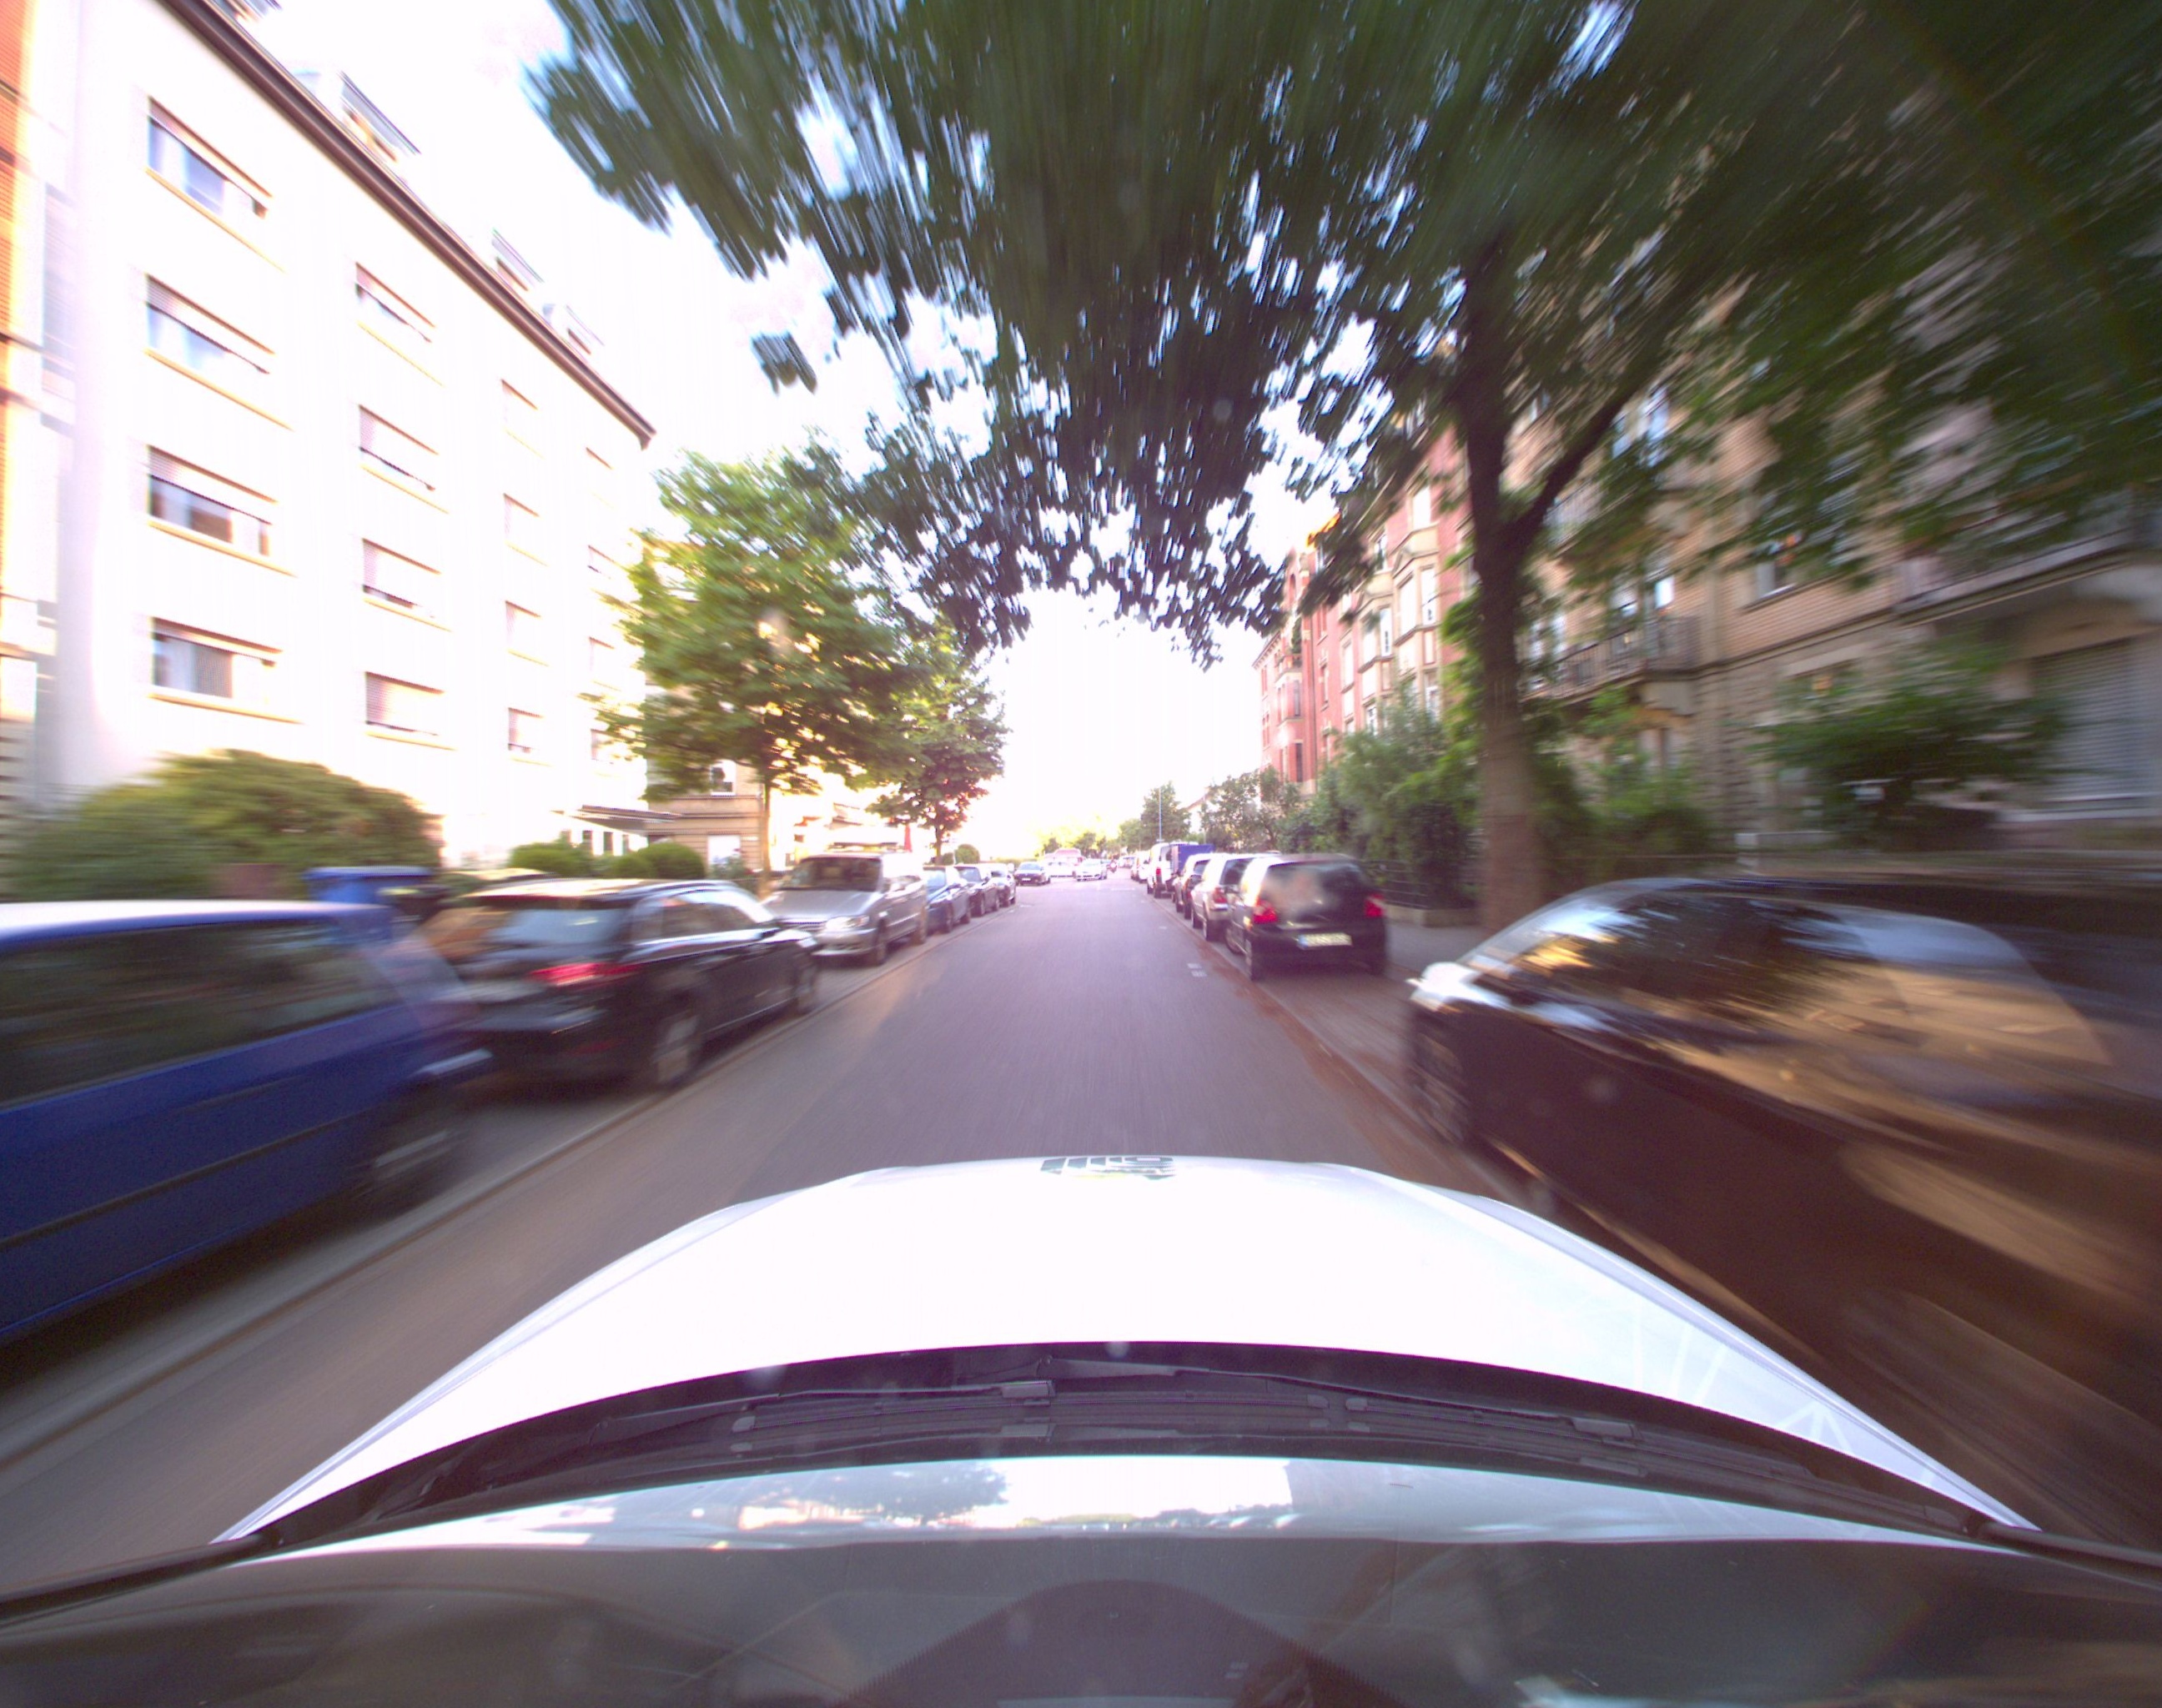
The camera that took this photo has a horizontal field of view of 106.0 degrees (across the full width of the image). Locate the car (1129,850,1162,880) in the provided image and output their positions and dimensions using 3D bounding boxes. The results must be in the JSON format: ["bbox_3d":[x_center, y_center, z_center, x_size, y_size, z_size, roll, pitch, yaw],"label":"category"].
[{"bbox_3d":[4.060,0.704,51.814,1.682,1.811,3.938,-1,-1,-1],"label":"car"}]

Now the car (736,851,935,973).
[{"bbox_3d":[-3.707,0.784,13.210,1.709,1.596,4.520,-1,0,2],"label":"car"}]

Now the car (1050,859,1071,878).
[{"bbox_3d":[-1.720,1.215,68.051,1.711,1.441,3.628,-1,0,-1],"label":"car"}]

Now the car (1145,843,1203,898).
[{"bbox_3d":[3.494,0.606,31.116,1.675,1.941,3.879,-1,-1,-1],"label":"car"}]

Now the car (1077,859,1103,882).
[{"bbox_3d":[0.680,1.171,58.835,1.806,1.596,3.484,-1,0,2],"label":"car"}]

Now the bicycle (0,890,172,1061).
[{"bbox_3d":[-8.015,0.906,6.148,0.432,1.185,1.619,-2,0,2],"label":"bicycle"}]

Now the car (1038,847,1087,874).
[{"bbox_3d":[-1.657,0.586,73.846,4.336,2.318,1.745,-1,0,0],"label":"car"}]

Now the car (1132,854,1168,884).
[{"bbox_3d":[3.935,0.845,46.820,1.682,1.606,3.938,-1,-1,-1],"label":"car"}]

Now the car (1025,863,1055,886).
[{"bbox_3d":[-2.836,1.401,56.610,1.709,1.441,3.633,-1,0,3],"label":"car"}]

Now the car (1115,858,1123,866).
[{"bbox_3d":[7.904,1.659,170.203,1.709,1.596,3.484,-1,0,2],"label":"car"}]

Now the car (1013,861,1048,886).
[{"bbox_3d":[-3.127,1.213,51.013,1.709,1.486,3.632,-1,-1,3],"label":"car"}]

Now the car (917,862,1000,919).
[{"bbox_3d":[-3.434,0.993,23.451,1.709,1.441,3.632,-1,0,2],"label":"car"}]

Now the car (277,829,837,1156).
[{"bbox_3d":[-3.569,0.771,6.661,1.709,1.790,4.217,-1,0,2],"label":"car"}]

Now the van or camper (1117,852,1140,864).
[{"bbox_3d":[11.419,1.021,195.779,5.263,2.791,1.547,-1,0,-10],"label":"van or camper"}]

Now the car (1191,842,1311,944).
[{"bbox_3d":[3.011,0.652,15.144,1.679,1.606,3.944,-1,-1,4],"label":"car"}]

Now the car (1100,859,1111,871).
[{"bbox_3d":[3.604,1.603,119.403,1.427,1.596,3.484,-1,0,2],"label":"car"}]

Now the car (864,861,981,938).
[{"bbox_3d":[-3.440,0.936,18.408,1.709,1.465,3.988,-1,0,2],"label":"car"}]

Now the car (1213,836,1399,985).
[{"bbox_3d":[2.785,0.640,10.907,1.679,1.606,3.945,-1,-1,5],"label":"car"}]

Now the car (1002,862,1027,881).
[{"bbox_3d":[-5.225,1.366,64.320,1.711,1.441,3.628,-2,0,-1],"label":"car"}]

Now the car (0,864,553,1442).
[{"bbox_3d":[-3.850,0.863,2.622,1.709,1.566,3.789,-1,0,2],"label":"car"}]

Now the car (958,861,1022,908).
[{"bbox_3d":[-3.118,1.021,28.442,1.592,1.441,3.840,-1,0,3],"label":"car"}]

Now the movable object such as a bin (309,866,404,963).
[{"bbox_3d":[-10.683,0.865,12.027,0.730,1.362,0.707,1,0,8],"label":"movable object such as a bin"}]

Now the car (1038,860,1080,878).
[{"bbox_3d":[-1.900,1.322,71.013,3.609,1.461,1.605,-1,0,-2],"label":"car"}]

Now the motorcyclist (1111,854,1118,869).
[{"bbox_3d":[3.686,0.851,90.695,0.699,1.630,0.822,-2,-1,1],"label":"motorcyclist"}]

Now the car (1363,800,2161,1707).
[{"bbox_3d":[2.567,0.609,2.901,1.681,1.441,4.211,-4,-1,1],"label":"car"}]

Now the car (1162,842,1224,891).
[{"bbox_3d":[3.708,0.416,27.395,1.534,1.521,3.430,-1,-1,-1],"label":"car"}]

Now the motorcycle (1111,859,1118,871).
[{"bbox_3d":[3.766,1.188,91.060,0.739,1.251,3.379,-2,1,2],"label":"motorcycle"}]
